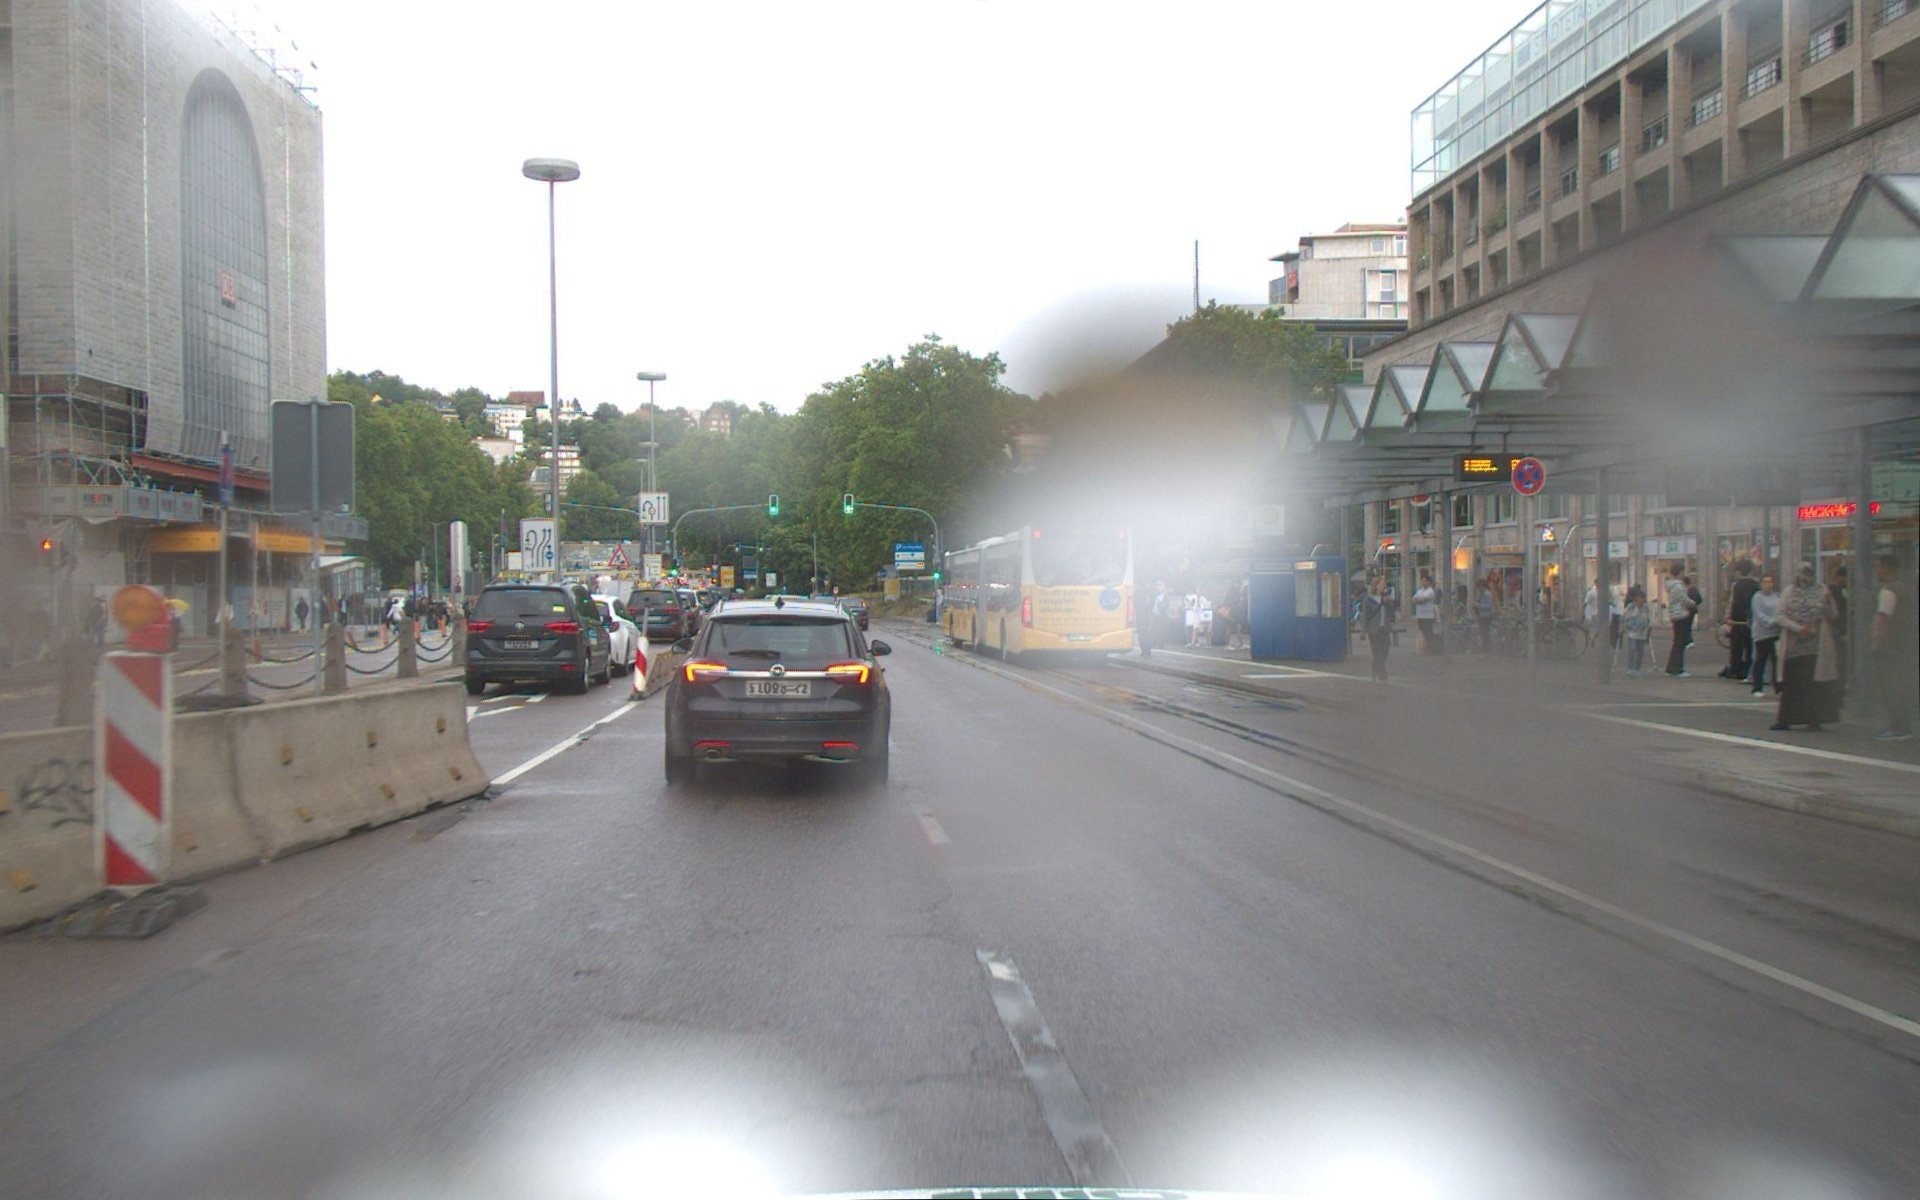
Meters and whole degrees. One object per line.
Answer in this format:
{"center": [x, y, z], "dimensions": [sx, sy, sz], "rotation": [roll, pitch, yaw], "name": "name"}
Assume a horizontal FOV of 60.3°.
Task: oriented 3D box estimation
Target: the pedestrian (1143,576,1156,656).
{"center": [4.487, 0.372, 39.119], "dimensions": [0.238, 1.869, 0.511], "rotation": [0, 0, -2], "name": "pedestrian"}

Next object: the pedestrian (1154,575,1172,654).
{"center": [4.801, 0.341, 39.188], "dimensions": [0.340, 1.869, 0.532], "rotation": [0, 0, -2], "name": "pedestrian"}

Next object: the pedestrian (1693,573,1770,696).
{"center": [10.804, 0.472, 23.172], "dimensions": [0.751, 1.683, 0.673], "rotation": [0, 0, -29], "name": "pedestrian"}

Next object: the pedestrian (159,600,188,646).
{"center": [-28.496, 0.821, 59.933], "dimensions": [0.663, 1.642, 0.838], "rotation": [0, 0, -3], "name": "pedestrian"}

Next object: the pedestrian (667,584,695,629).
{"center": [-12.929, 0.306, 76.718], "dimensions": [0.818, 2.049, 1.025], "rotation": [0, 0, 32], "name": "pedestrian"}

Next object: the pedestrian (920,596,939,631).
{"center": [-1.671, 0.732, 91.086], "dimensions": [0.775, 1.871, 0.945], "rotation": [-1, 0, -20], "name": "pedestrian"}

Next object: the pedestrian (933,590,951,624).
{"center": [-0.940, 0.374, 88.171], "dimensions": [0.735, 1.836, 0.705], "rotation": [-1, 0, -21], "name": "pedestrian"}

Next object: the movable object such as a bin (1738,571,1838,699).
{"center": [11.204, 0.457, 22.397], "dimensions": [0.655, 1.681, 1.039], "rotation": [0, 0, -28], "name": "movable object such as a bin"}

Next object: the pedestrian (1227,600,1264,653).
{"center": [10.006, 0.927, 57.971], "dimensions": [0.981, 1.824, 0.779], "rotation": [-1, 0, -34], "name": "pedestrian"}

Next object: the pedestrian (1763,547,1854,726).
{"center": [8.972, 0.378, 17.497], "dimensions": [0.662, 1.869, 0.574], "rotation": [0, 0, -3], "name": "pedestrian"}

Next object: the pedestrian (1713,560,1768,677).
{"center": [12.627, 0.299, 26.761], "dimensions": [0.600, 1.863, 0.586], "rotation": [0, 0, -34], "name": "pedestrian"}

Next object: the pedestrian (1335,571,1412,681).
{"center": [6.621, 0.406, 26.499], "dimensions": [0.750, 1.720, 0.991], "rotation": [0, 0, -26], "name": "pedestrian"}

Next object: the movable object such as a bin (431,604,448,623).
{"center": [-27.693, 0.726, 88.069], "dimensions": [0.744, 0.987, 0.720], "rotation": [-1, 0, -8], "name": "movable object such as a bin"}

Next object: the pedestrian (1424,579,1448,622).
{"center": [20.659, 0.030, 71.761], "dimensions": [0.717, 1.823, 0.788], "rotation": [-1, 0, -6], "name": "pedestrian"}

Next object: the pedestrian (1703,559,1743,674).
{"center": [12.885, 0.270, 27.914], "dimensions": [0.584, 1.907, 0.590], "rotation": [0, 0, 27], "name": "pedestrian"}

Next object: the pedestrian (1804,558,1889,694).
{"center": [12.411, 0.355, 23.172], "dimensions": [0.736, 1.880, 0.760], "rotation": [0, 0, -9], "name": "pedestrian"}

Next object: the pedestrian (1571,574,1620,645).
{"center": [15.843, 0.232, 41.253], "dimensions": [0.968, 1.724, 0.854], "rotation": [0, 0, 35], "name": "pedestrian"}

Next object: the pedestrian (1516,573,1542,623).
{"center": [21.299, -0.079, 61.926], "dimensions": [0.639, 1.823, 0.789], "rotation": [-1, 0, -1], "name": "pedestrian"}

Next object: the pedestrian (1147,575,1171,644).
{"center": [5.416, 0.262, 45.047], "dimensions": [0.554, 1.869, 0.569], "rotation": [0, 0, -2], "name": "pedestrian"}

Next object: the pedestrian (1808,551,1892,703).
{"center": [11.179, 0.328, 20.793], "dimensions": [0.734, 1.869, 0.762], "rotation": [0, 0, 11], "name": "pedestrian"}

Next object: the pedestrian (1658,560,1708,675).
{"center": [12.066, 0.282, 27.605], "dimensions": [0.594, 1.892, 0.625], "rotation": [0, 0, 4], "name": "pedestrian"}

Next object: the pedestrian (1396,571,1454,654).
{"center": [10.499, 0.278, 37.319], "dimensions": [0.779, 1.836, 0.981], "rotation": [-1, 0, -33], "name": "pedestrian"}

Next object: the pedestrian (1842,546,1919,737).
{"center": [9.255, 0.402, 16.445], "dimensions": [0.615, 1.869, 0.641], "rotation": [0, 0, -3], "name": "pedestrian"}

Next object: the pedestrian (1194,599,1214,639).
{"center": [7.908, 0.612, 53.630], "dimensions": [0.504, 1.254, 0.770], "rotation": [-1, 0, -2], "name": "pedestrian"}

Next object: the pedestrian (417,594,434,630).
{"center": [-28.418, 0.641, 87.965], "dimensions": [0.684, 1.873, 0.876], "rotation": [1, -1, -7], "name": "pedestrian"}

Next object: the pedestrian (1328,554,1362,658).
{"center": [8.430, 0.125, 36.231], "dimensions": [0.578, 2.254, 0.587], "rotation": [0, 0, -3], "name": "pedestrian"}

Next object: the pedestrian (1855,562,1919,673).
{"center": [15.831, 0.284, 28.211], "dimensions": [0.753, 1.863, 0.744], "rotation": [0, 0, -34], "name": "pedestrian"}

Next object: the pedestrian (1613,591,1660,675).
{"center": [11.454, 0.552, 28.014], "dimensions": [0.541, 1.401, 0.507], "rotation": [0, 0, -10], "name": "pedestrian"}

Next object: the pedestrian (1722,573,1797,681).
{"center": [12.318, 0.409, 25.492], "dimensions": [0.736, 1.636, 0.760], "rotation": [0, 0, -10], "name": "pedestrian"}

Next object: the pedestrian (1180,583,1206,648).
{"center": [6.331, 0.420, 44.961], "dimensions": [0.597, 1.753, 0.592], "rotation": [0, 0, -1], "name": "pedestrian"}

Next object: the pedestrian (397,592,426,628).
{"center": [-28.564, 0.521, 86.146], "dimensions": [0.962, 1.873, 1.042], "rotation": [-1, 0, 15], "name": "pedestrian"}

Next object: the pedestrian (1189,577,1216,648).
{"center": [6.479, 0.325, 44.196], "dimensions": [0.679, 1.869, 0.556], "rotation": [0, 0, 11], "name": "pedestrian"}

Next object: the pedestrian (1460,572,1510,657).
{"center": [10.791, 0.301, 34.018], "dimensions": [0.733, 1.724, 0.901], "rotation": [0, 0, -2], "name": "pedestrian"}
